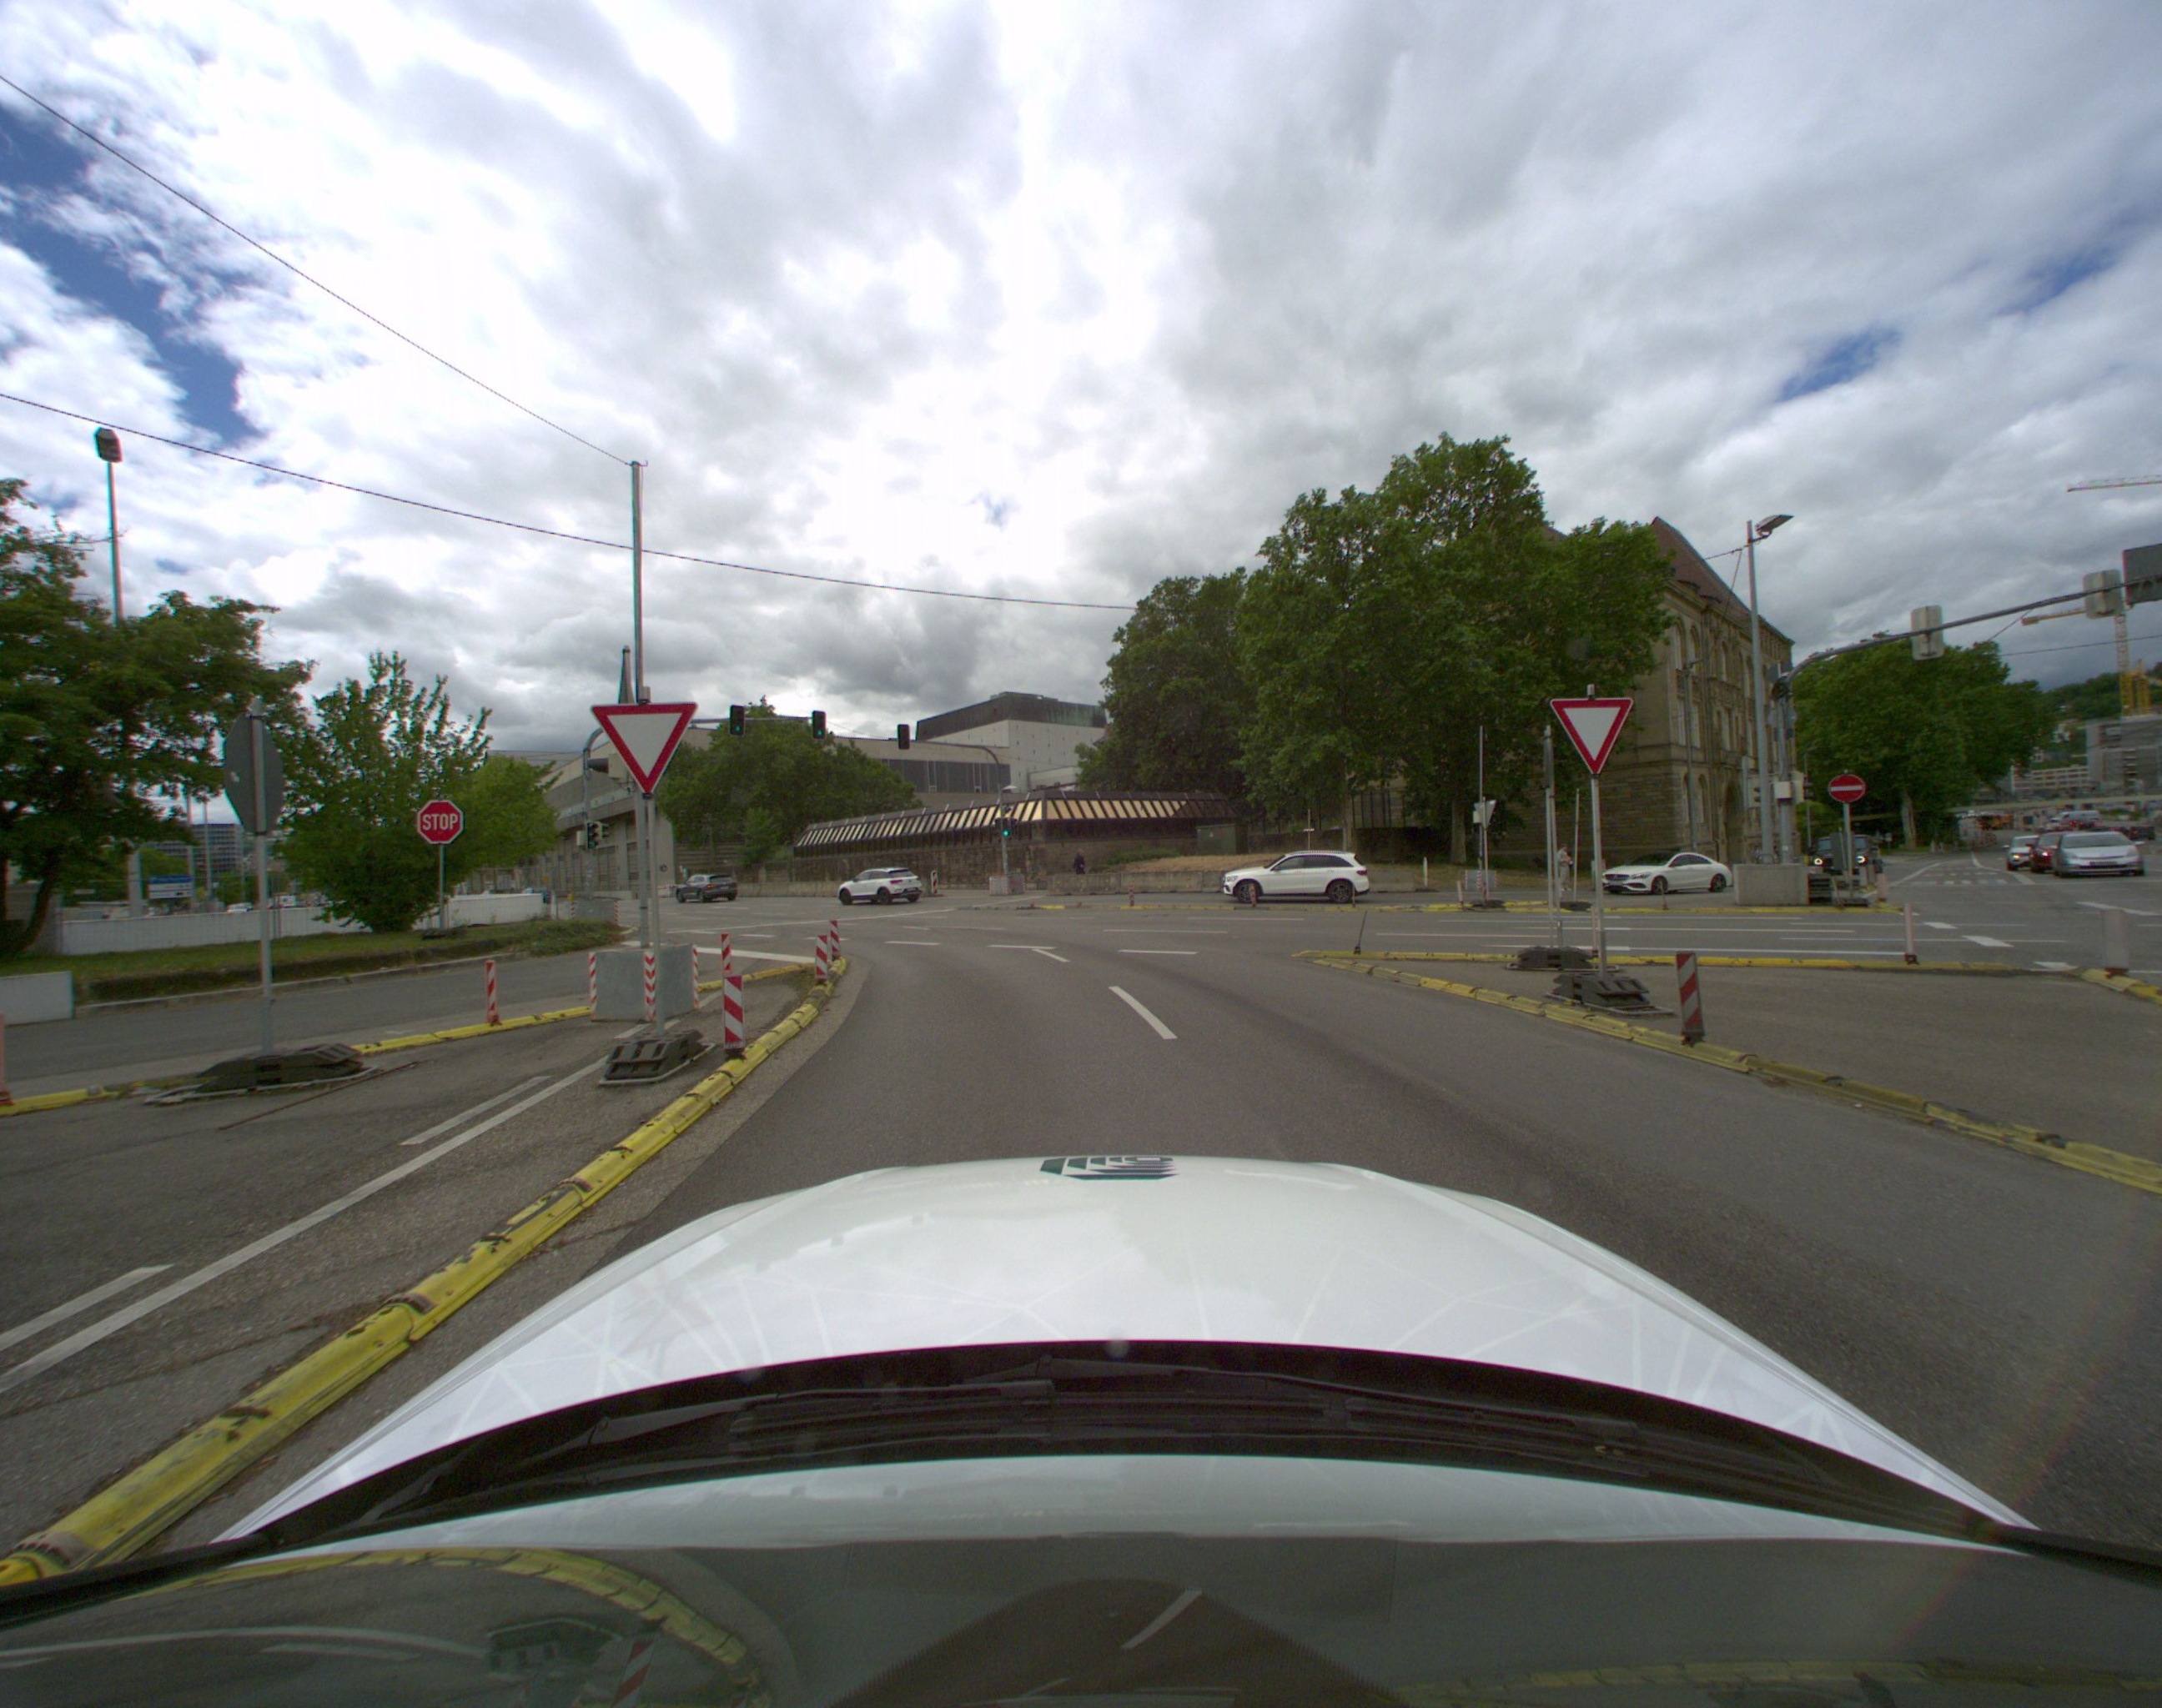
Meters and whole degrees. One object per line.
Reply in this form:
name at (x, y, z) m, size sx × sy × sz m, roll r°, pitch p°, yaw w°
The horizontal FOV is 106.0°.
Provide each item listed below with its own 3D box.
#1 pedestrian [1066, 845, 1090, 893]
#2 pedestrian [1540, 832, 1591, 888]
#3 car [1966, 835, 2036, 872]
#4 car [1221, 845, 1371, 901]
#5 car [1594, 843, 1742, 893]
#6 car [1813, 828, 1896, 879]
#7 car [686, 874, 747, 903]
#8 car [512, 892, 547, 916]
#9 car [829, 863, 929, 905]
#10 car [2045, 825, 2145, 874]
pedestrian at (-0.131, 0.652, 35.622) m, size 0.842 × 2.014 × 0.625 m, roll -3°, pitch -1°, yaw 14°
pedestrian at (18.026, 0.215, 30.321) m, size 1.184 × 2.013 × 1.207 m, roll -3°, pitch -1°, yaw 7°
car at (43.446, -0.024, 38.522) m, size 1.815 × 1.568 × 4.024 m, roll -5°, pitch -3°, yaw 44°
car at (6.918, 0.617, 26.484) m, size 4.506 × 1.642 × 1.824 m, roll -1°, pitch 1°, yaw 12°
car at (20.018, 0.440, 27.806) m, size 4.375 × 1.435 × 1.731 m, roll -2°, pitch 1°, yaw -16°
car at (32.378, 0.037, 34.073) m, size 3.690 × 1.938 × 1.916 m, roll 2°, pitch -6°, yaw -39°
car at (-21.777, 2.016, 48.564) m, size 1.840 × 1.567 × 4.424 m, roll -3°, pitch 1°, yaw -45°
car at (-45.966, 4.127, 67.868) m, size 1.839 × 1.740 × 4.426 m, roll -4°, pitch 0°, yaw -41°
car at (-8.966, 1.329, 36.009) m, size 4.275 × 1.567 × 1.768 m, roll -4°, pitch 1°, yaw 34°
car at (33.759, -0.127, 27.203) m, size 3.467 × 1.435 × 1.644 m, roll 0°, pitch -4°, yaw -45°
